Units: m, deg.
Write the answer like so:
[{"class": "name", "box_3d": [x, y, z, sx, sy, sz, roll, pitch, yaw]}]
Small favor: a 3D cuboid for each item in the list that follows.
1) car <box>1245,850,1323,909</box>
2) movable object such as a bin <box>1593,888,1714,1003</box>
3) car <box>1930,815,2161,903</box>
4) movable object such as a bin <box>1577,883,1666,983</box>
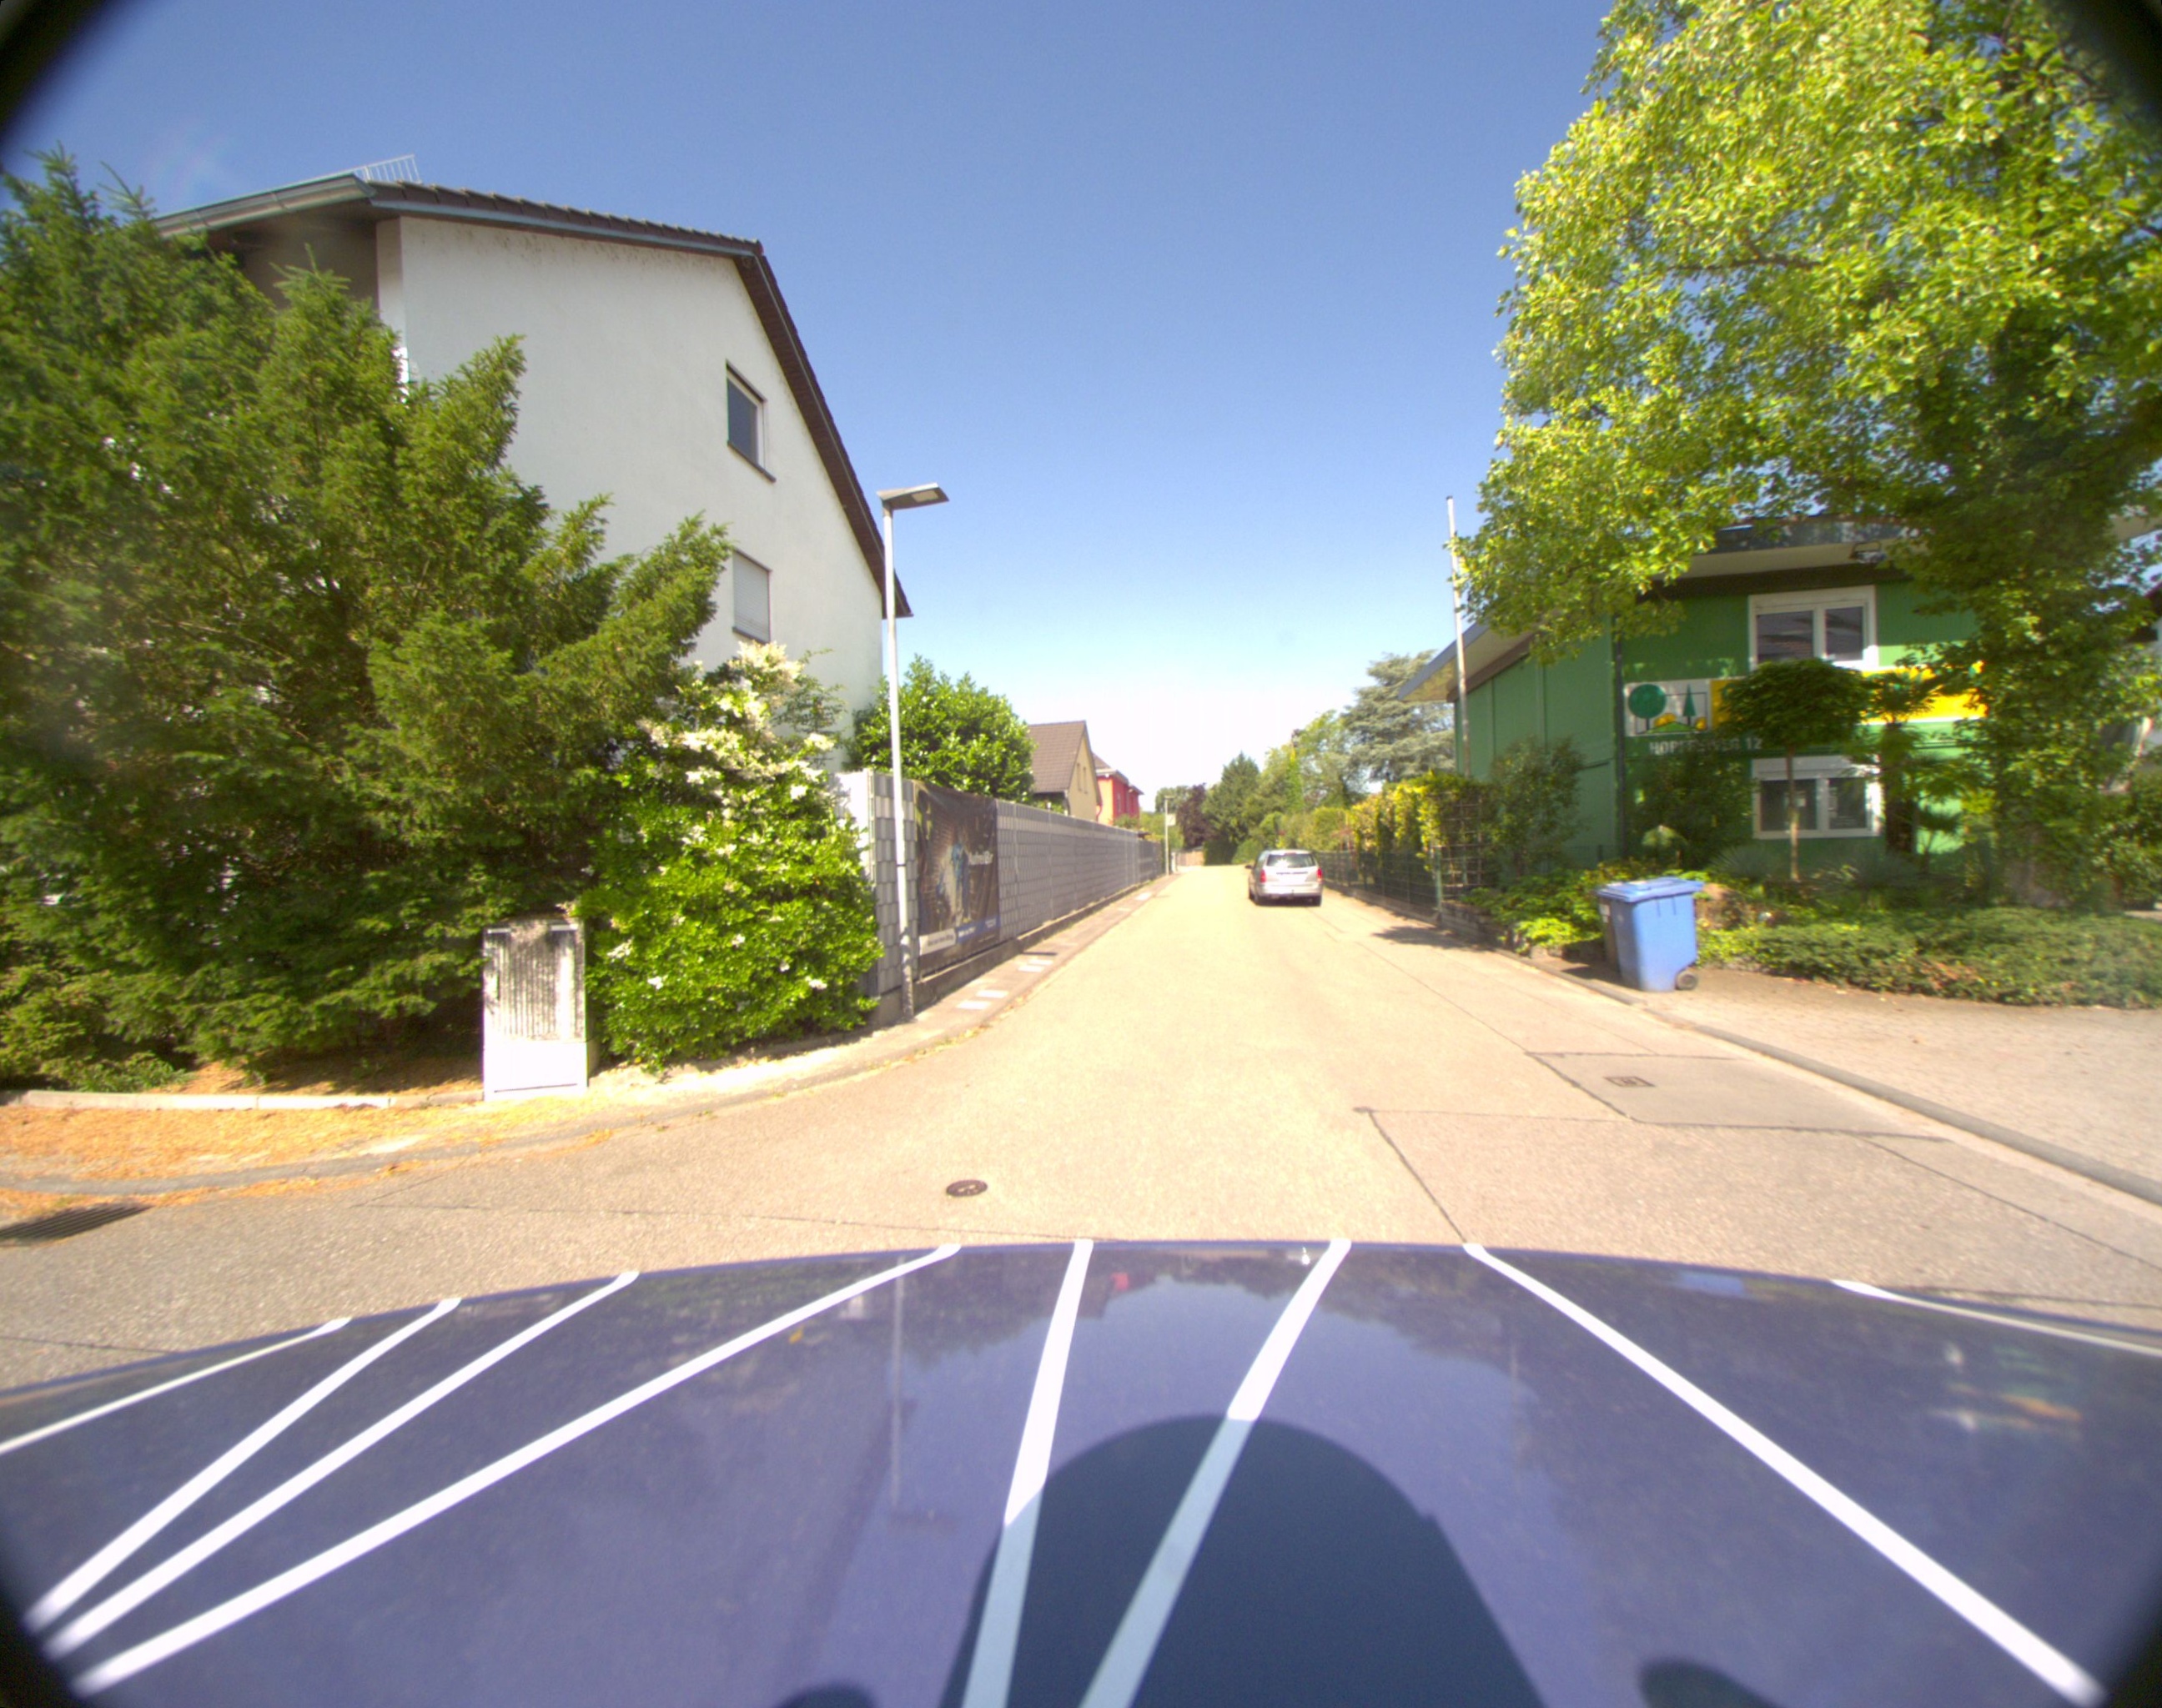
[{"class": "car", "box_3d": [5.597, 0.620, 21.428, 1.755, 1.478, 4.378, 0, 1, 10]}, {"class": "movable object such as a bin", "box_3d": [5.634, 0.888, 7.518, 0.732, 1.048, 0.612, -3, 1, 10]}, {"class": "car", "box_3d": [19.500, 0.018, 14.811, 1.860, 1.439, 4.002, -3, 1, 11]}, {"class": "movable object such as a bin", "box_3d": [5.915, 0.856, 8.338, 0.583, 1.018, 0.568, -3, 1, 10]}]
